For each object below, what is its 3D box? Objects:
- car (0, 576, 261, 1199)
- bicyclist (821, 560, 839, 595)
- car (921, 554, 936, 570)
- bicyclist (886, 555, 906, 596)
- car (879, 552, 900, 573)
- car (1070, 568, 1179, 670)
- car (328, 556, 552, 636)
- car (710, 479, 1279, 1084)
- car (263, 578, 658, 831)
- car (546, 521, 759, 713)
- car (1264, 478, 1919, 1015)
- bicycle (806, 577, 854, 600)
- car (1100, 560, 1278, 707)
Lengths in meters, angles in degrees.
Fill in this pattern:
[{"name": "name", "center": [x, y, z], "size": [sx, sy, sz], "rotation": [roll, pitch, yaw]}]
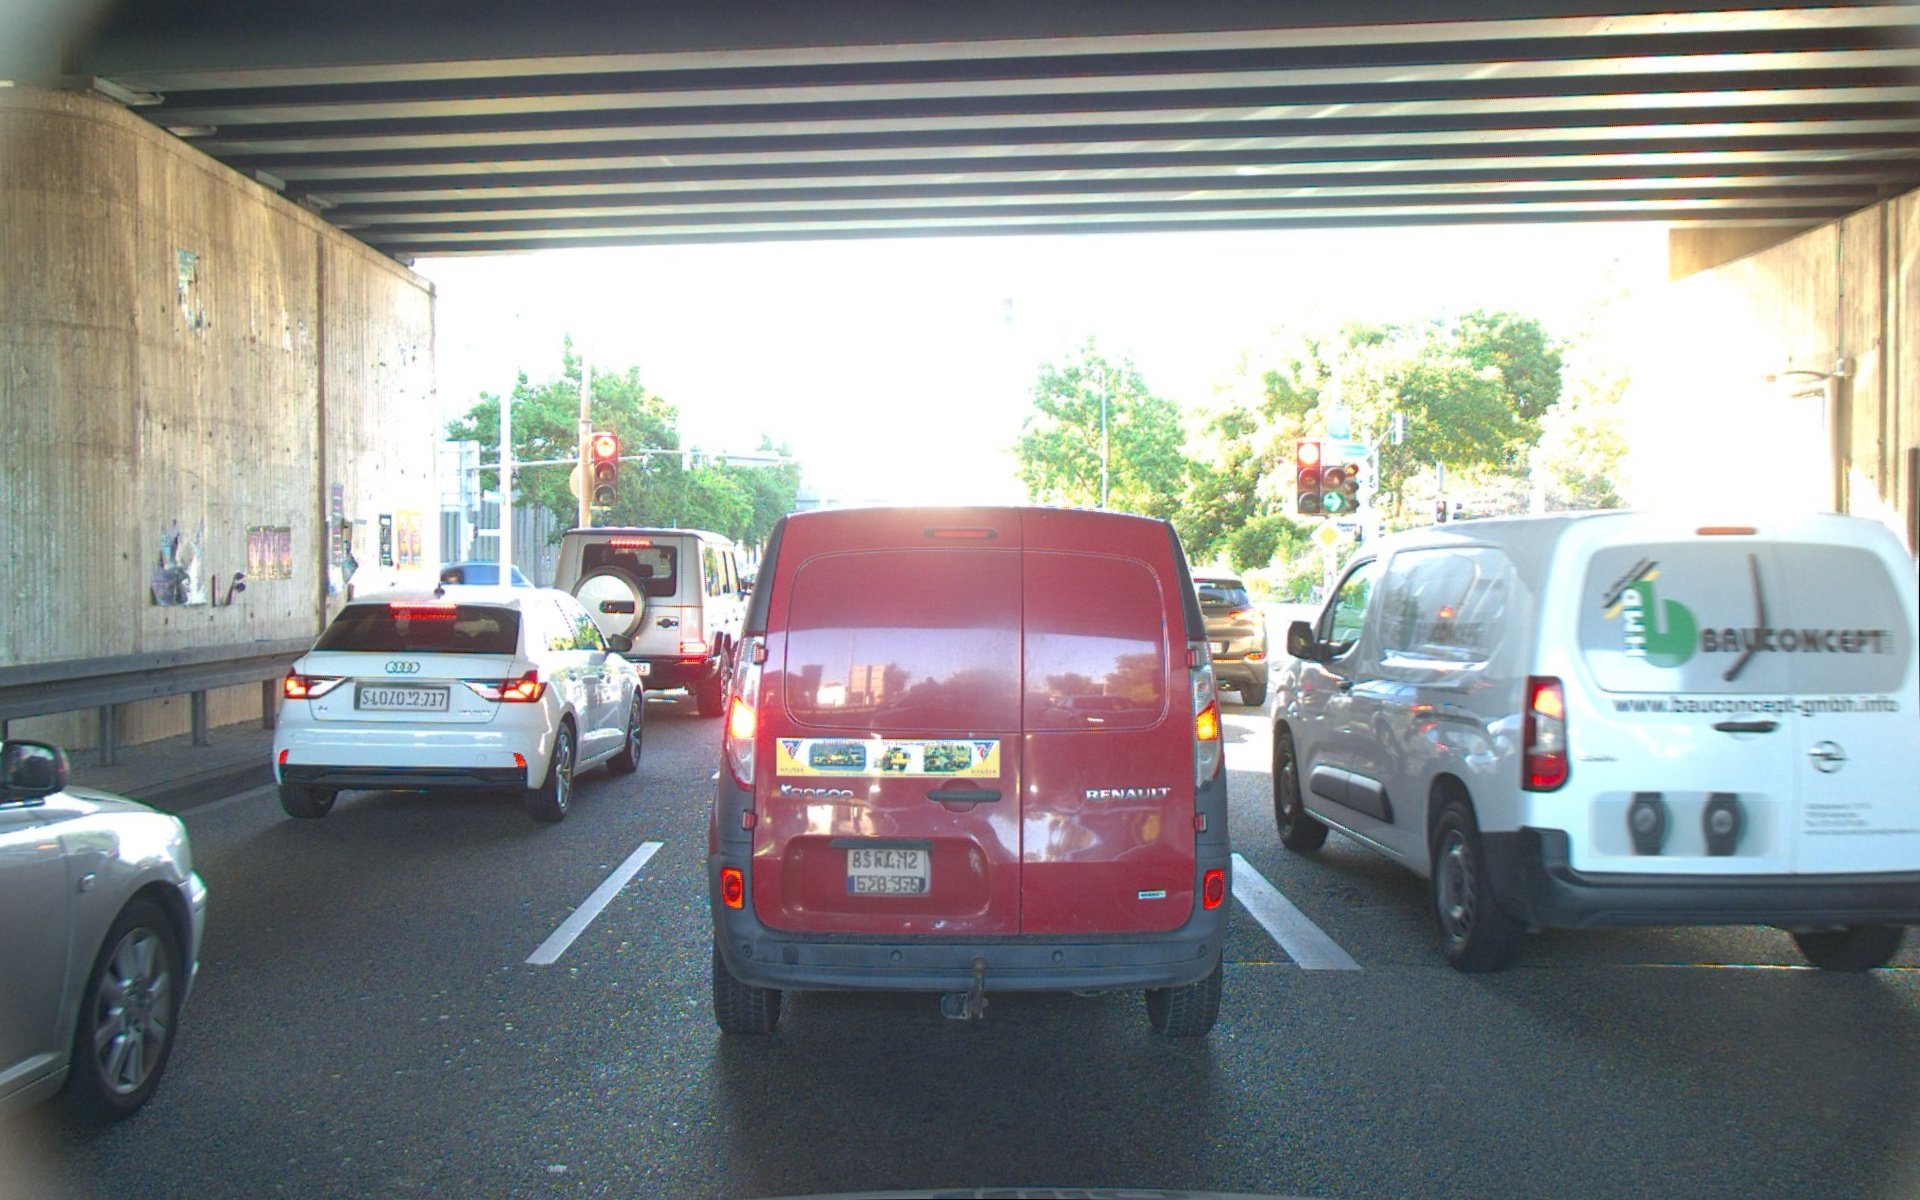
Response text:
[{"name": "car", "center": [-2.952, 0.681, 2.992], "size": [1.662, 1.480, 4.396], "rotation": [1, 0, -3]}, {"name": "bicyclist", "center": [-5.035, -0.871, 64.069], "size": [0.640, 1.352, 0.602], "rotation": [1, 0, -4]}, {"name": "car", "center": [-4.205, -5.048, 220.664], "size": [1.953, 2.049, 3.999], "rotation": [1, 0, -1]}, {"name": "bicyclist", "center": [-2.472, -0.947, 63.875], "size": [0.739, 1.569, 0.696], "rotation": [0, 0, 0]}, {"name": "car", "center": [-7.334, -3.903, 172.519], "size": [1.953, 2.049, 3.999], "rotation": [1, 0, -1]}, {"name": "car", "center": [2.752, 0.261, 28.358], "size": [1.618, 1.579, 3.865], "rotation": [1, 1, 3]}, {"name": "car", "center": [-11.197, -0.064, 35.873], "size": [1.960, 1.635, 4.345], "rotation": [1, 0, 36]}, {"name": "car", "center": [0.078, 0.537, 6.971], "size": [1.684, 1.795, 3.999], "rotation": [1, 0, -1]}, {"name": "car", "center": [-3.223, 0.591, 11.440], "size": [1.658, 1.435, 3.812], "rotation": [1, 0, -2]}, {"name": "car", "center": [-3.363, 0.162, 18.783], "size": [1.777, 1.937, 3.812], "rotation": [1, 0, -2]}, {"name": "car", "center": [2.834, 0.493, 7.955], "size": [1.777, 1.865, 4.299], "rotation": [1, 1, -2]}, {"name": "bicycle", "center": [-5.031, -0.454, 64.071], "size": [1.875, 0.882, 0.605], "rotation": [0, 0, -5]}, {"name": "car", "center": [2.829, 0.369, 21.202], "size": [1.741, 1.684, 3.990], "rotation": [1, 1, 0]}]
